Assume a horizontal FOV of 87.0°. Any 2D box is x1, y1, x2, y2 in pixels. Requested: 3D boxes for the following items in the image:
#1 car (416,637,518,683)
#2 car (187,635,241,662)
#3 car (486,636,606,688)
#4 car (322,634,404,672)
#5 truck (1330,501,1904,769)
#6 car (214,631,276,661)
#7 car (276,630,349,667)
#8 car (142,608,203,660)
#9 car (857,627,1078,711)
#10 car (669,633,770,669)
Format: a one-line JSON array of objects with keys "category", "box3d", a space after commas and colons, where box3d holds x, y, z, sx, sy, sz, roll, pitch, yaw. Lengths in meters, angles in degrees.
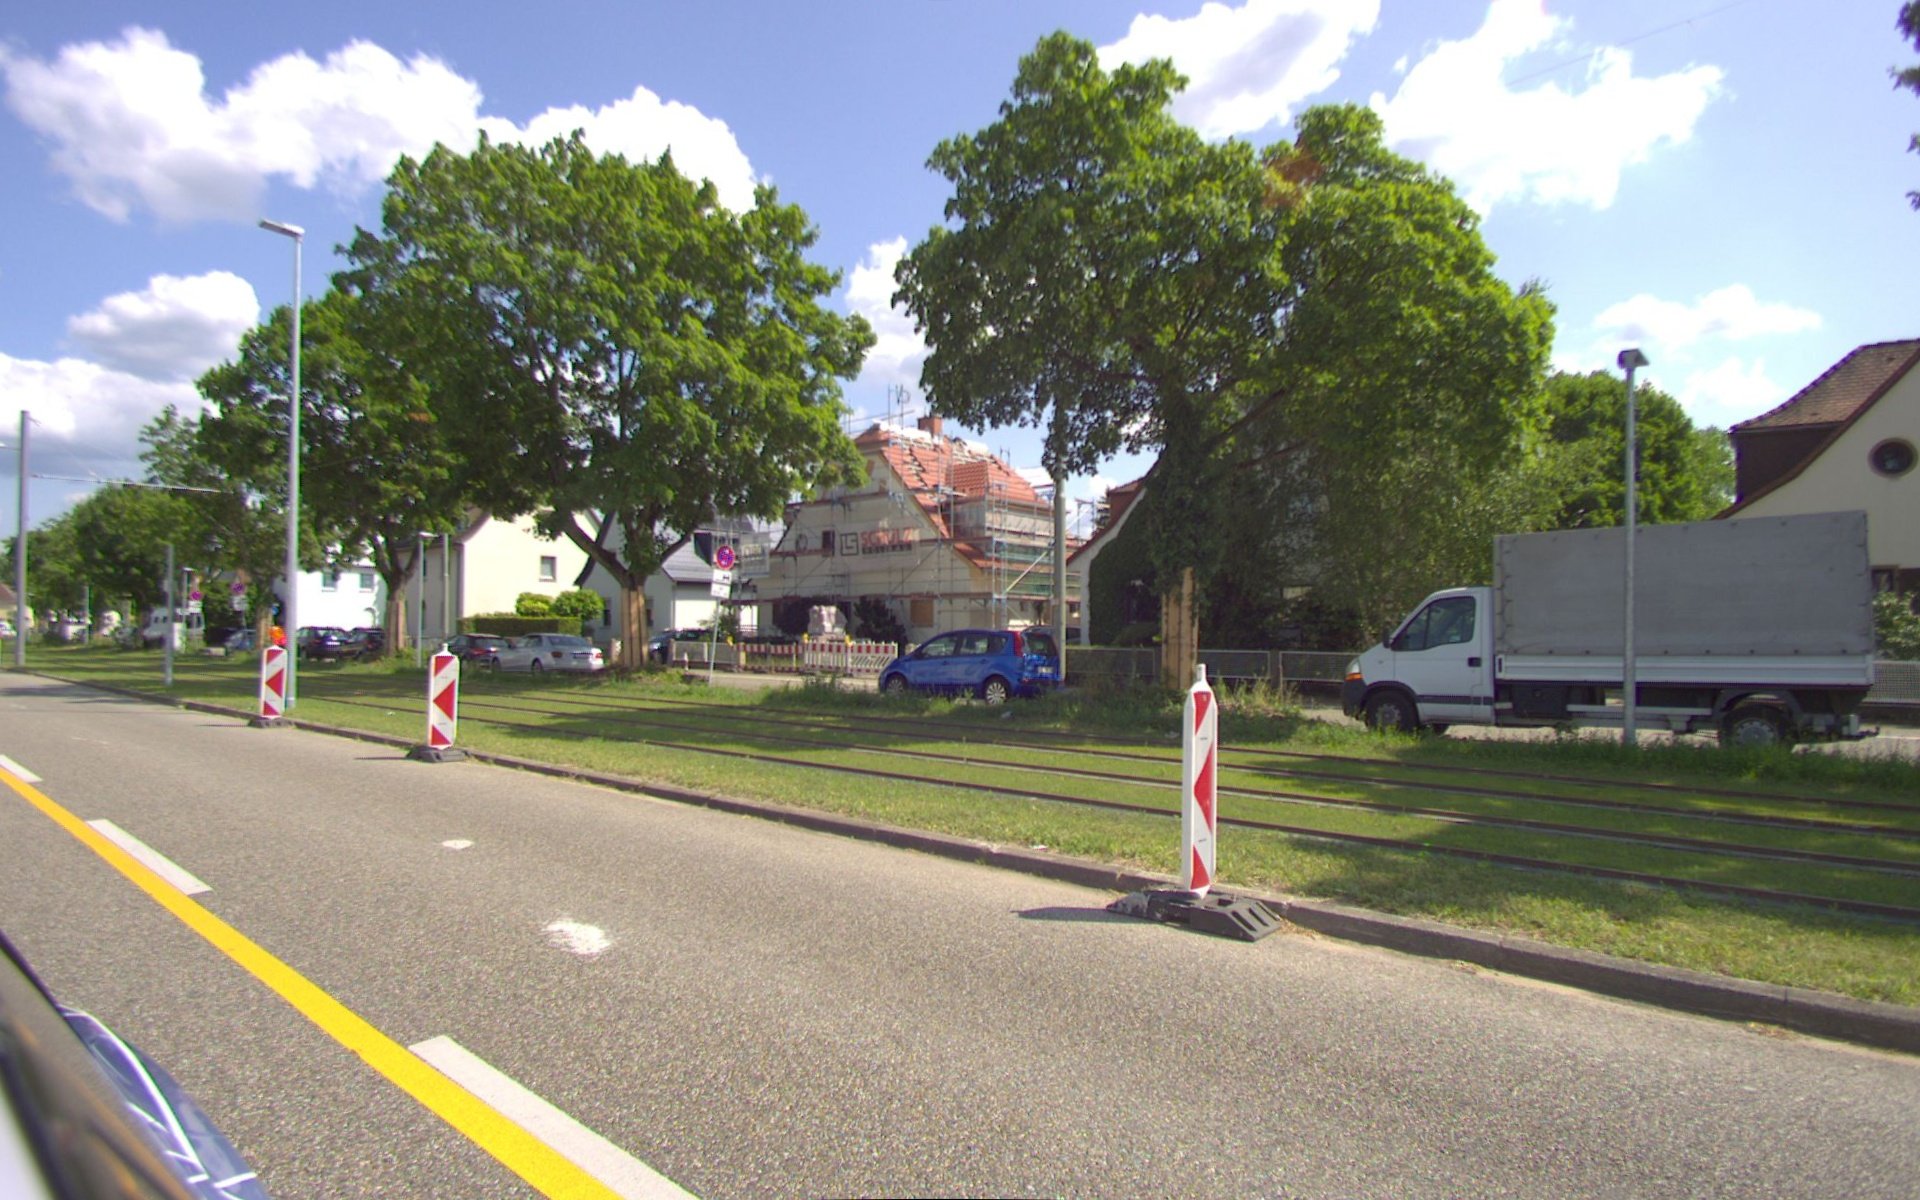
[{"category": "car", "box3d": [-17.525, 2.125, 35.891, 4.403, 1.497, 1.680, -3, -3, 41]}, {"category": "car", "box3d": [-44.482, 2.883, 60.326, 4.403, 1.497, 1.680, -3, -3, 41]}, {"category": "car", "box3d": [-13.102, 1.938, 31.899, 4.520, 1.497, 1.765, -4, -3, 42]}, {"category": "car", "box3d": [-25.185, 2.260, 42.648, 4.403, 1.497, 1.680, -3, -3, 41]}, {"category": "truck", "box3d": [8.295, 0.459, 13.401, 5.971, 2.802, 2.242, -2, -3, 41]}, {"category": "car", "box3d": [-37.499, 2.436, 53.046, 4.403, 1.497, 1.680, -3, -3, 41]}, {"category": "car", "box3d": [-29.499, 2.232, 46.071, 4.403, 1.584, 1.680, -3, -3, 41]}, {"category": "car", "box3d": [-49.522, 2.170, 63.603, 5.080, 3.061, 2.108, -3, -3, 41]}, {"category": "car", "box3d": [0.061, 1.357, 20.278, 4.403, 1.497, 1.680, -3, -3, 41]}, {"category": "car", "box3d": [-10.931, 2.300, 46.209, 1.702, 1.497, 4.345, -3, -3, 41]}]
